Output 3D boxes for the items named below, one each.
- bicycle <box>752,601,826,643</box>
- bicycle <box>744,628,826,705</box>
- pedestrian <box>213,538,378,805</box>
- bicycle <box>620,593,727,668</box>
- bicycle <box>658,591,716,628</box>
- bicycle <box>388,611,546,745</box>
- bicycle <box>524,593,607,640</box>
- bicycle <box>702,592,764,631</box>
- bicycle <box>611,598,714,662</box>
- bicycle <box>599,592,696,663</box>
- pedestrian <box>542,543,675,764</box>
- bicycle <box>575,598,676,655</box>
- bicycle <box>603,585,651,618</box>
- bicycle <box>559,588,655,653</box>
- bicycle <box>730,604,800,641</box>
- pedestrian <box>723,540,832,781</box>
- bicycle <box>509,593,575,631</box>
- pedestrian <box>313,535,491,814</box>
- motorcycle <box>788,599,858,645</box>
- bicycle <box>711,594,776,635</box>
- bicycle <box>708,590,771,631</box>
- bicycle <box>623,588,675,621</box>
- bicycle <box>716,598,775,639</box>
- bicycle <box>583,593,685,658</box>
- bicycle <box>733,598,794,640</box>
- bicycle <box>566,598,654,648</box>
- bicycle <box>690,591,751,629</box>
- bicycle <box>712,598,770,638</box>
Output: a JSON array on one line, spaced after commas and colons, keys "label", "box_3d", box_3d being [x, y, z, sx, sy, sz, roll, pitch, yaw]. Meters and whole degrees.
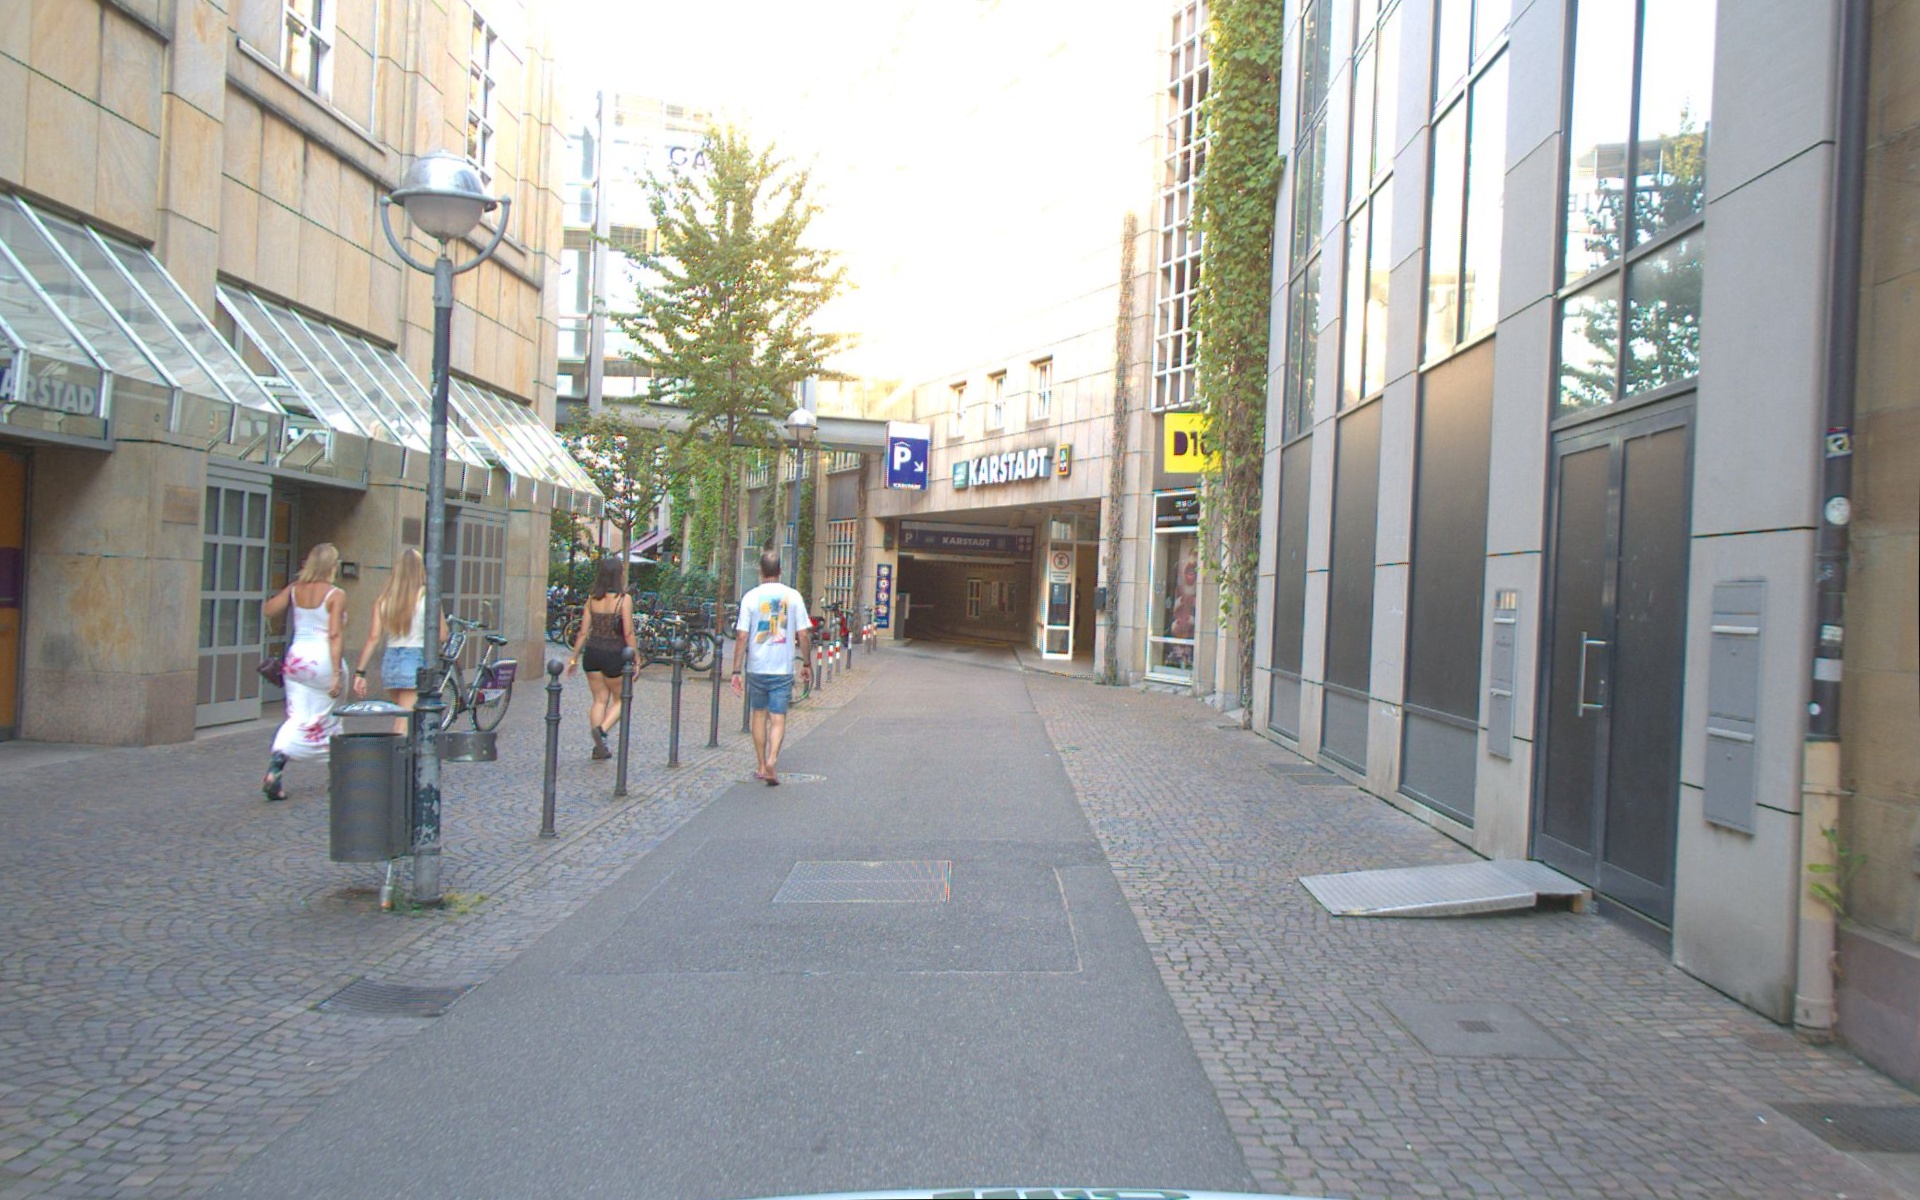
[{"label": "bicycle", "box_3d": [-4.391, 0.567, 42.528, 1.821, 0.999, 0.461, 2, 0, -21]}, {"label": "bicycle", "box_3d": [-2.341, 0.874, 22.320, 0.482, 0.955, 1.660, 3, 0, 15]}, {"label": "pedestrian", "box_3d": [-4.445, 0.459, 11.118, 0.660, 1.693, 0.861, 2, 0, 3]}, {"label": "bicycle", "box_3d": [-4.978, 0.529, 28.761, 1.742, 1.252, 0.530, 1, 0, -23]}, {"label": "bicycle", "box_3d": [-8.826, 0.320, 53.449, 1.747, 1.134, 0.539, 2, 0, -21]}, {"label": "bicycle", "box_3d": [-4.583, 0.692, 15.503, 0.510, 1.157, 1.765, 2, 0, 16]}, {"label": "bicycle", "box_3d": [-9.206, 0.384, 38.622, 1.799, 1.061, 0.530, 1, 0, -23]}, {"label": "bicycle", "box_3d": [-6.879, 0.343, 50.167, 1.747, 1.134, 0.539, 2, 0, -21]}, {"label": "bicycle", "box_3d": [-5.565, 0.562, 30.930, 1.811, 1.142, 0.530, 1, 0, -23]}, {"label": "bicycle", "box_3d": [-5.678, 0.502, 30.038, 1.631, 1.252, 0.530, 1, 0, -23]}, {"label": "pedestrian", "box_3d": [-3.032, 0.443, 14.333, 0.768, 1.826, 0.973, 2, 0, 10]}, {"label": "bicycle", "box_3d": [-6.551, 0.520, 32.412, 1.868, 1.070, 0.530, 1, 0, -23]}, {"label": "bicycle", "box_3d": [-12.973, 0.053, 64.407, 1.747, 1.211, 0.583, 2, 0, -21]}, {"label": "bicycle", "box_3d": [-7.056, 0.414, 33.085, 1.808, 1.246, 0.530, 1, 0, -23]}, {"label": "bicycle", "box_3d": [-5.120, 0.585, 43.397, 1.747, 0.919, 0.461, 2, 0, -21]}, {"label": "pedestrian", "box_3d": [-1.460, 0.469, 13.360, 0.727, 1.854, 0.878, 2, 0, 0]}, {"label": "bicycle", "box_3d": [-11.924, 0.345, 47.168, 1.755, 1.037, 0.478, 1, 0, -23]}, {"label": "pedestrian", "box_3d": [-3.719, 0.474, 11.102, 0.790, 1.759, 0.949, 2, 0, 1]}, {"label": "motorcycle", "box_3d": [-3.390, 0.548, 40.961, 1.638, 1.069, 0.461, 2, 0, -21]}, {"label": "bicycle", "box_3d": [-6.271, 0.417, 47.892, 1.747, 1.134, 0.539, 2, 0, -21]}, {"label": "bicycle", "box_3d": [-6.525, 0.303, 48.966, 1.747, 1.134, 0.539, 2, 0, -21]}, {"label": "bicycle", "box_3d": [-11.145, 0.173, 59.249, 1.745, 1.134, 0.540, 2, 0, -18]}, {"label": "bicycle", "box_3d": [-5.878, 0.510, 45.323, 1.517, 1.067, 0.572, 2, 0, -21]}, {"label": "bicycle", "box_3d": [-6.277, 0.499, 31.883, 1.846, 1.198, 0.530, 1, 0, -23]}, {"label": "bicycle", "box_3d": [-5.260, 0.512, 44.347, 1.517, 1.067, 0.572, 2, 0, -21]}, {"label": "bicycle", "box_3d": [-7.795, 0.518, 36.867, 1.851, 1.061, 0.530, 1, 0, -23]}, {"label": "bicycle", "box_3d": [-7.411, 0.305, 51.196, 1.747, 1.134, 0.539, 2, 0, -21]}, {"label": "bicycle", "box_3d": [-6.177, 0.517, 46.719, 1.517, 1.067, 0.572, 2, 0, -21]}]
